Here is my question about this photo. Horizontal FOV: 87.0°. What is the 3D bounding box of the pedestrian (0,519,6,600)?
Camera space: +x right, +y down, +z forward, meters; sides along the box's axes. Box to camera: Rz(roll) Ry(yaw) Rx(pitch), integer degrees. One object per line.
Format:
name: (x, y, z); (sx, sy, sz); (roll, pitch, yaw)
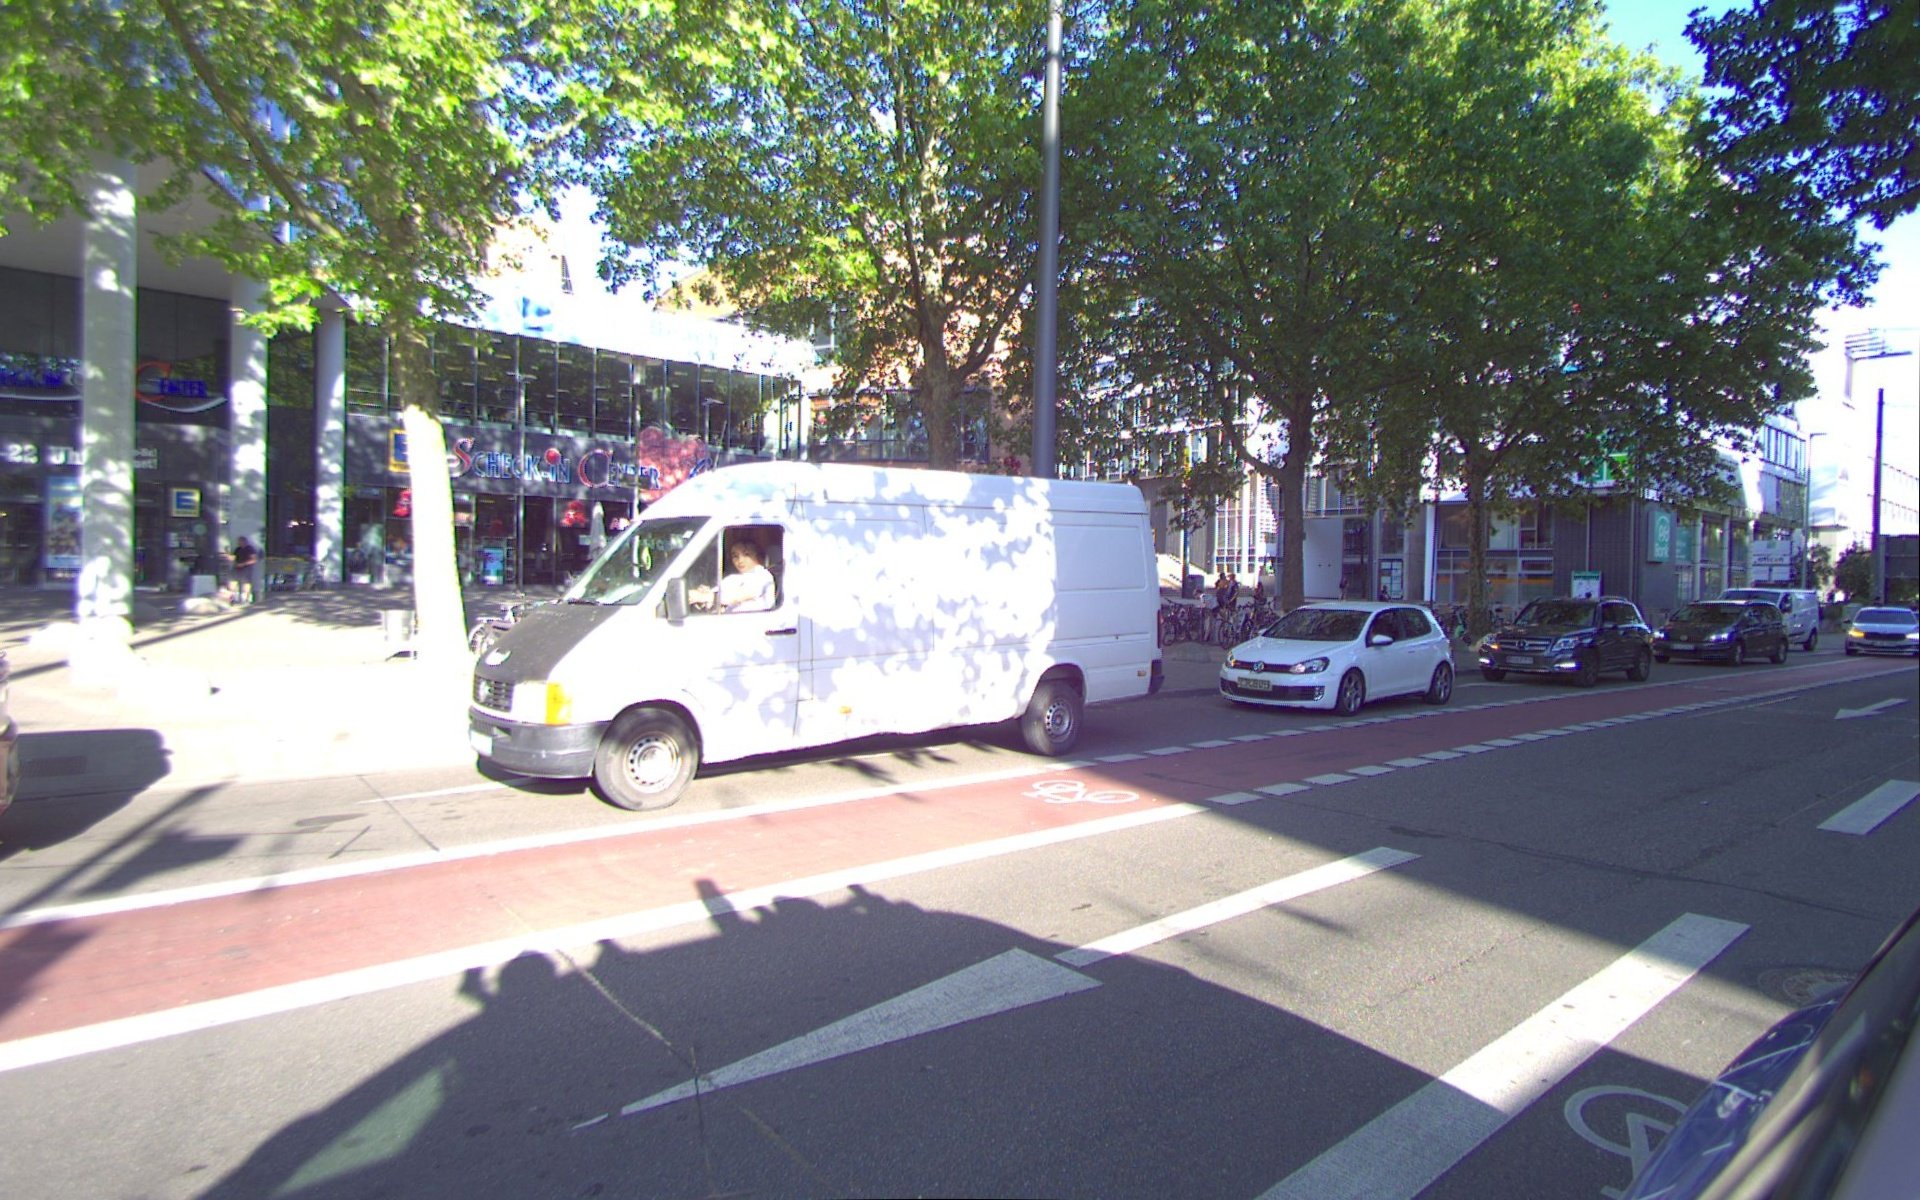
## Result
pedestrian: (-23.082, -0.943, 23.606); (0.857, 1.912, 0.813); (1, 2, 2)

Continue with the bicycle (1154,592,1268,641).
bicycle: (6.571, 0.390, 26.779); (1.124, 1.097, 3.342); (0, 2, -23)

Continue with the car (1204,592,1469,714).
car: (5.266, 0.625, 13.956); (3.914, 1.446, 1.639); (0, 0, -38)

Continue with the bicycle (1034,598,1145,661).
bicycle: (2.449, 0.521, 18.987); (2.295, 1.073, 0.682); (-1, 1, -39)

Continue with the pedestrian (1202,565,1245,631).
pedestrian: (9.263, -0.070, 35.596); (1.195, 2.276, 1.052); (0, 0, -3)

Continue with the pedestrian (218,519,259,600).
pedestrian: (-18.732, -1.038, 26.293); (0.843, 2.039, 1.024); (0, 0, -34)

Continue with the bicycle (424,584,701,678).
bicycle: (-5.846, 0.499, 15.160); (3.743, 1.236, 0.729); (4, -2, -35)

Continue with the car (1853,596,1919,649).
car: (28.284, 0.632, 30.600); (1.831, 1.508, 4.130); (1, 1, 43)

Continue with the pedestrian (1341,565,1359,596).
pedestrian: (26.256, -1.300, 68.181); (0.860, 2.039, 0.796); (0, 0, -41)

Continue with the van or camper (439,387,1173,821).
van or camper: (-0.900, -0.006, 9.032); (6.384, 2.647, 2.004); (0, 1, -41)

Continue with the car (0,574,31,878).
car: (-6.422, 0.602, 4.341); (3.534, 1.478, 1.493); (0, 0, -41)

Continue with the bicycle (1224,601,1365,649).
bicycle: (7.766, 0.553, 23.466); (3.136, 1.038, 0.979); (0, 0, -18)

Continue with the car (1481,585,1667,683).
car: (11.733, 0.567, 19.246); (4.174, 1.656, 1.768); (0, 0, -40)

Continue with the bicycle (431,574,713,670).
bicycle: (-5.520, 0.262, 14.695); (3.744, 1.236, 0.758); (-2, 1, -35)

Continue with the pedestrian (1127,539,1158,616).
pedestrian: (6.426, -0.790, 35.603); (0.967, 2.681, 0.897); (0, 0, 18)

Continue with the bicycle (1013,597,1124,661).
bicycle: (2.170, 0.531, 19.935); (2.355, 1.177, 0.750); (-1, 0, -40)

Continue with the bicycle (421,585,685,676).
bicycle: (-6.254, 0.416, 15.814); (3.746, 1.236, 0.793); (-2, 1, -37)

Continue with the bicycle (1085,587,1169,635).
bicycle: (4.500, 0.276, 27.116); (2.653, 1.215, 0.698); (-1, 1, -41)

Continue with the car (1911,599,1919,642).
car: (35.559, 0.710, 36.118); (4.120, 1.508, 1.835); (0, -1, -39)

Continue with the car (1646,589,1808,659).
car: (19.481, 0.563, 25.669); (4.302, 1.656, 1.713); (0, 0, -30)

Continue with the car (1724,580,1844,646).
car: (27.094, 0.379, 33.183); (5.812, 1.989, 1.933); (0, 0, -39)

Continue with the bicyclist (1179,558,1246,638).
bicyclist: (6.629, -0.066, 26.634); (1.132, 2.039, 1.301); (0, 1, -24)

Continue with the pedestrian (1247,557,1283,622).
pedestrian: (10.731, -0.363, 35.625); (0.884, 2.261, 0.845); (0, 0, -19)
